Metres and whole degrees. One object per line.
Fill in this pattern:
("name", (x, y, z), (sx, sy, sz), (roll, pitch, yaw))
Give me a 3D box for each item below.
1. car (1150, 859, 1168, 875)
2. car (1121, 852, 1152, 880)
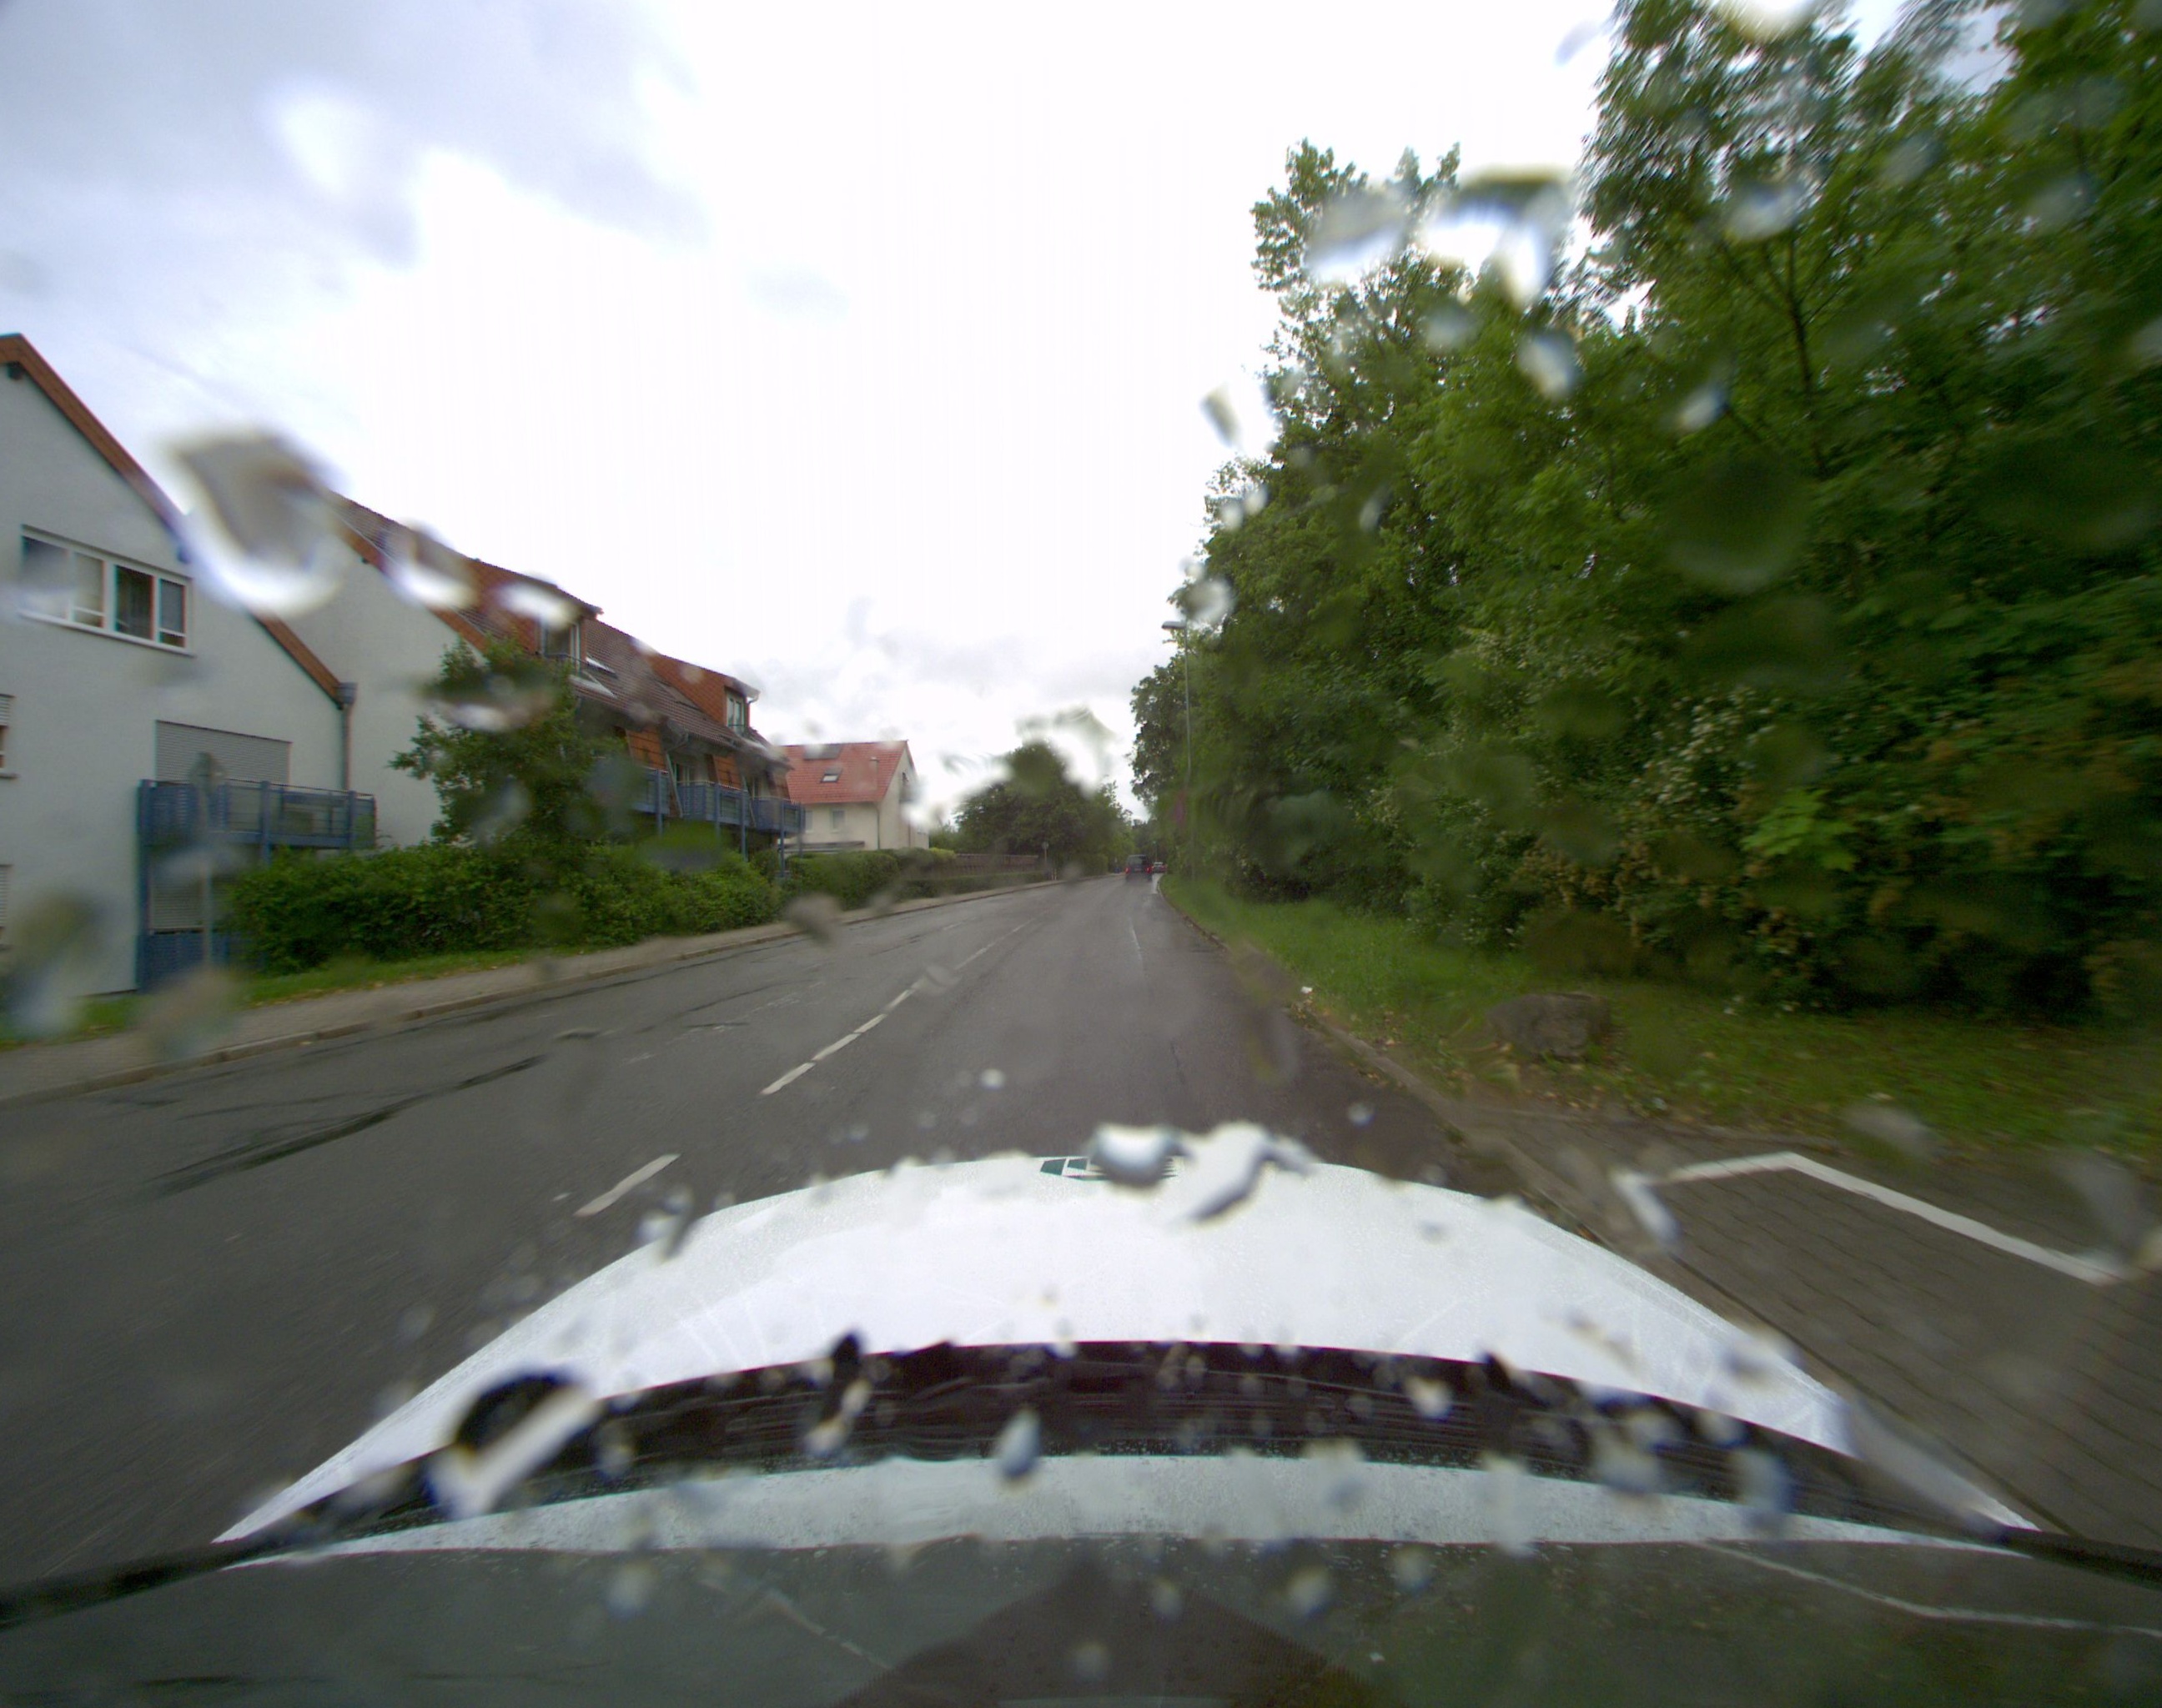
("car", (9.603, 1.582, 100.355), (1.939, 1.750, 4.009), (-2, 0, 8))
("car", (3.951, 0.798, 57.141), (1.983, 1.793, 4.007), (-1, 1, 6))
